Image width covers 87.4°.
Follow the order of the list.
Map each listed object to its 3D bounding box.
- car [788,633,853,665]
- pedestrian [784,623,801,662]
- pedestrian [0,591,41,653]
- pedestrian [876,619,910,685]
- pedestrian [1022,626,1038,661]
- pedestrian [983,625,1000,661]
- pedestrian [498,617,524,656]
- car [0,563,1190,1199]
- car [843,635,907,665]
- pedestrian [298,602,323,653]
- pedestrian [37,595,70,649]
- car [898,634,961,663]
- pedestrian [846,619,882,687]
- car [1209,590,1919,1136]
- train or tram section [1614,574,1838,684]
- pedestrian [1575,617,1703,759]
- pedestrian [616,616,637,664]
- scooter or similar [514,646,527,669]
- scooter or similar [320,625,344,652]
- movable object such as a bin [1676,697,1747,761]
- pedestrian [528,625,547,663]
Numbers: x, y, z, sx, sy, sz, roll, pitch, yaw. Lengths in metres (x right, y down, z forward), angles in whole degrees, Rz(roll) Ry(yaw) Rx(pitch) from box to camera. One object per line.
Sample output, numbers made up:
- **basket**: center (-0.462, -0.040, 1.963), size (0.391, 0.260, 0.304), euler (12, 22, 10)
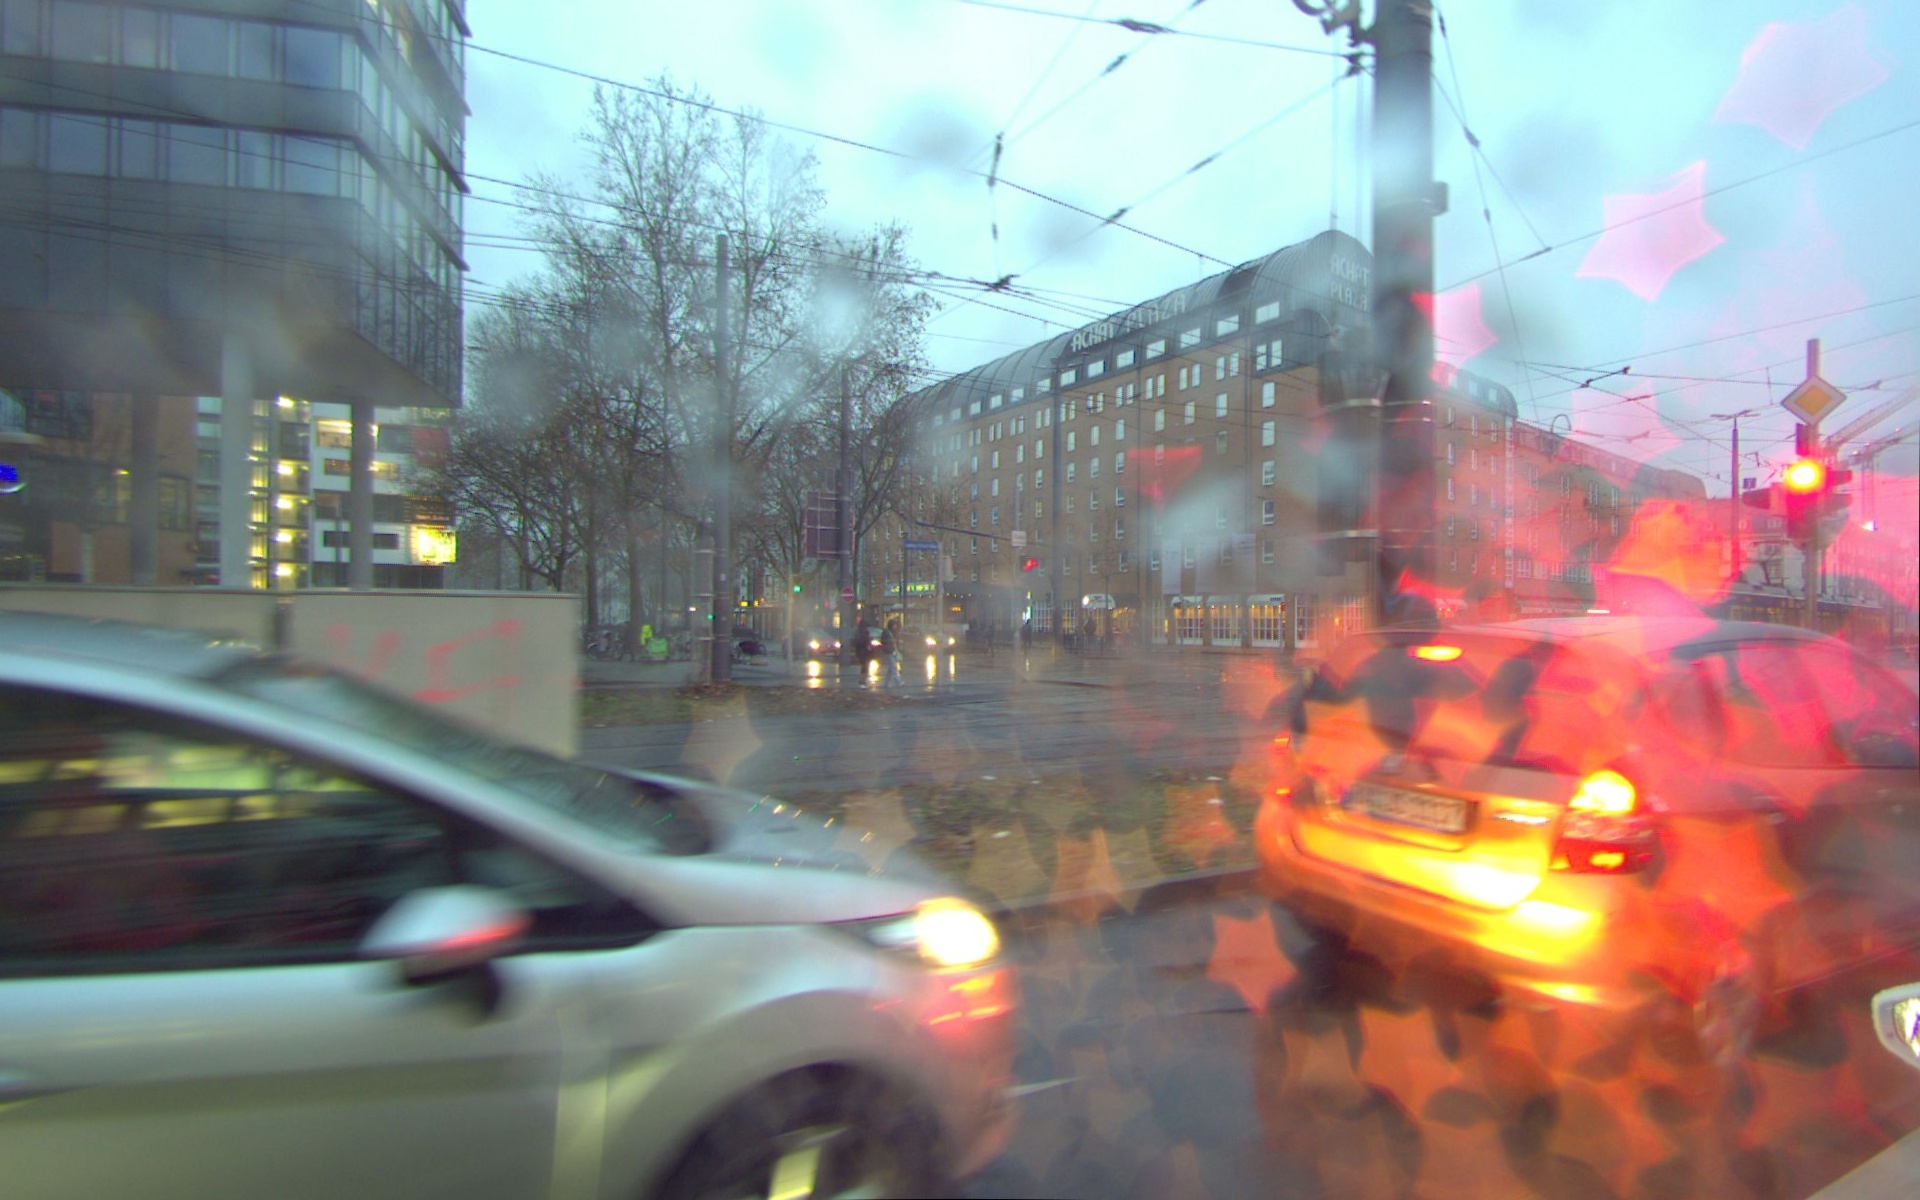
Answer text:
- **car**: center (-6.805, 2.342, 48.784), size (1.974, 1.446, 3.973), euler (1, -1, -26)
- **pedestrian**: center (-7.587, 1.913, 45.472), size (0.679, 1.728, 0.526), euler (1, -2, -6)
- **pedestrian**: center (-27.832, 0.646, 29.642), size (0.690, 1.775, 0.794), euler (0, -1, 18)
- **pedestrian**: center (-1.574, 1.223, 23.747), size (0.610, 1.532, 0.515), euler (1, -1, -43)
- **pedestrian**: center (3.547, 2.192, 50.971), size (0.622, 1.781, 0.566), euler (-1, -2, 33)
- **pedestrian**: center (1.574, 2.137, 50.227), size (0.622, 1.781, 0.566), euler (-1, -2, 33)
- **pedestrian**: center (-21.083, 1.718, 47.198), size (0.805, 1.783, 0.734), euler (0, -2, 27)
- **car**: center (-1.591, 0.674, 2.128), size (3.953, 1.467, 1.697), euler (2, 0, -30)
- **car**: center (-4.412, 2.536, 51.435), size (1.974, 1.446, 3.973), euler (1, -1, -26)
- **pedestrian**: center (-23.160, 0.981, 35.844), size (0.628, 1.797, 0.569), euler (1, -2, -24)
- **pedestrian**: center (-30.143, 0.731, 33.410), size (0.696, 1.775, 0.566), euler (1, -1, -32)
- **car**: center (-1.693, 2.598, 54.357), size (1.974, 1.446, 3.973), euler (1, -1, -26)
- **pedestrian**: center (-2.226, 1.219, 23.272), size (0.640, 1.532, 0.557), euler (1, -1, -37)
- **car**: center (3.058, 0.767, 4.404), size (3.713, 1.478, 1.690), euler (1, -2, -30)
- **train or tram section**: center (31.743, 1.222, 40.886), size (19.903, 3.662, 2.841), euler (2, -2, -40)
- **pedestrian**: center (8.059, 1.028, 11.965), size (1.016, 1.621, 0.716), euler (-1, -3, 12)
- **pedestrian**: center (-13.203, 1.590, 39.791), size (0.725, 1.888, 0.569), euler (1, -2, -24)
- **scooter or similar**: center (-17.094, 2.237, 39.085), size (0.426, 0.861, 0.550), euler (1, -2, -24)
- **scooter or similar**: center (-22.568, 1.379, 36.101), size (0.657, 0.973, 0.550), euler (1, -2, -24)
- **movable object such as a bin**: center (8.842, 1.508, 11.835), size (0.527, 0.708, 0.413), euler (0, -3, 11)
- **pedestrian**: center (-16.548, 1.736, 39.336), size (0.675, 1.478, 0.569), euler (1, -2, -24)
